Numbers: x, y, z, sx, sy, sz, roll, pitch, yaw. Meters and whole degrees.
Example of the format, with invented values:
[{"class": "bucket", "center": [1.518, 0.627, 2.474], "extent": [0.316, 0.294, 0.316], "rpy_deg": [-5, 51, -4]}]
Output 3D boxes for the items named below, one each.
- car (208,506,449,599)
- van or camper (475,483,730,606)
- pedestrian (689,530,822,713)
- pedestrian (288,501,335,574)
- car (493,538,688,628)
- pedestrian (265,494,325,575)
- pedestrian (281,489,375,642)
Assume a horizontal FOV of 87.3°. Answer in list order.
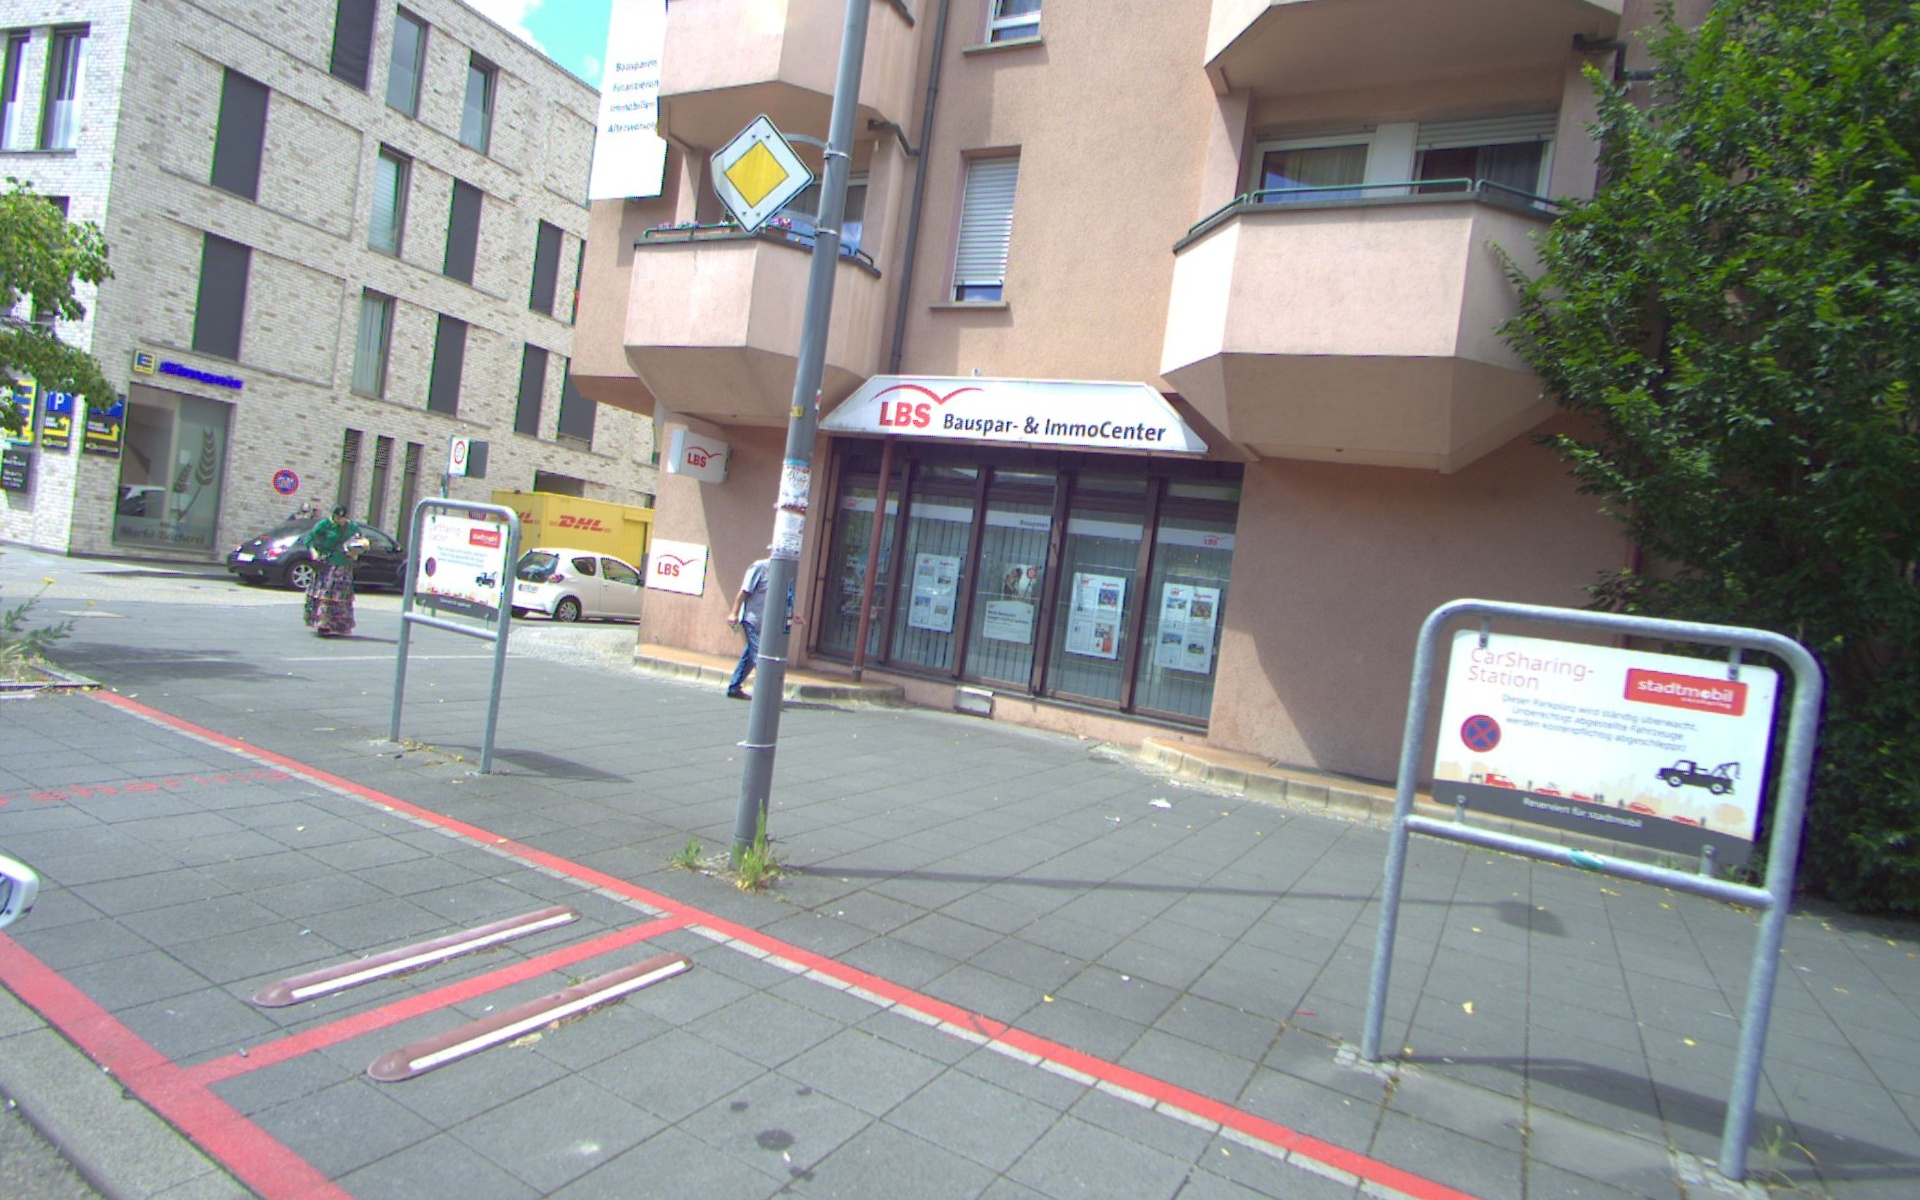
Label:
[{"class": "car", "center": [-13.185, -0.947, 21.254], "extent": [1.752, 1.496, 3.900], "rpy_deg": [8, 2, 26]}, {"class": "van or camper", "center": [-9.677, -1.396, 28.106], "extent": [2.237, 2.772, 6.863], "rpy_deg": [6, 1, 27]}, {"class": "pedestrian", "center": [-2.059, 0.210, 10.146], "extent": [0.928, 1.707, 0.717], "rpy_deg": [6, 1, 27]}, {"class": "pedestrian", "center": [-15.128, -1.440, 23.463], "extent": [0.592, 1.592, 0.522], "rpy_deg": [6, 0, -3]}, {"class": "car", "center": [-7.521, -0.307, 20.733], "extent": [1.689, 1.496, 3.385], "rpy_deg": [8, 2, 29]}, {"class": "pedestrian", "center": [-15.079, -1.477, 22.827], "extent": [0.801, 1.691, 0.555], "rpy_deg": [6, 0, -3]}, {"class": "pedestrian", "center": [-7.375, -0.408, 11.786], "extent": [0.737, 1.661, 0.920], "rpy_deg": [5, 3, -27]}]
